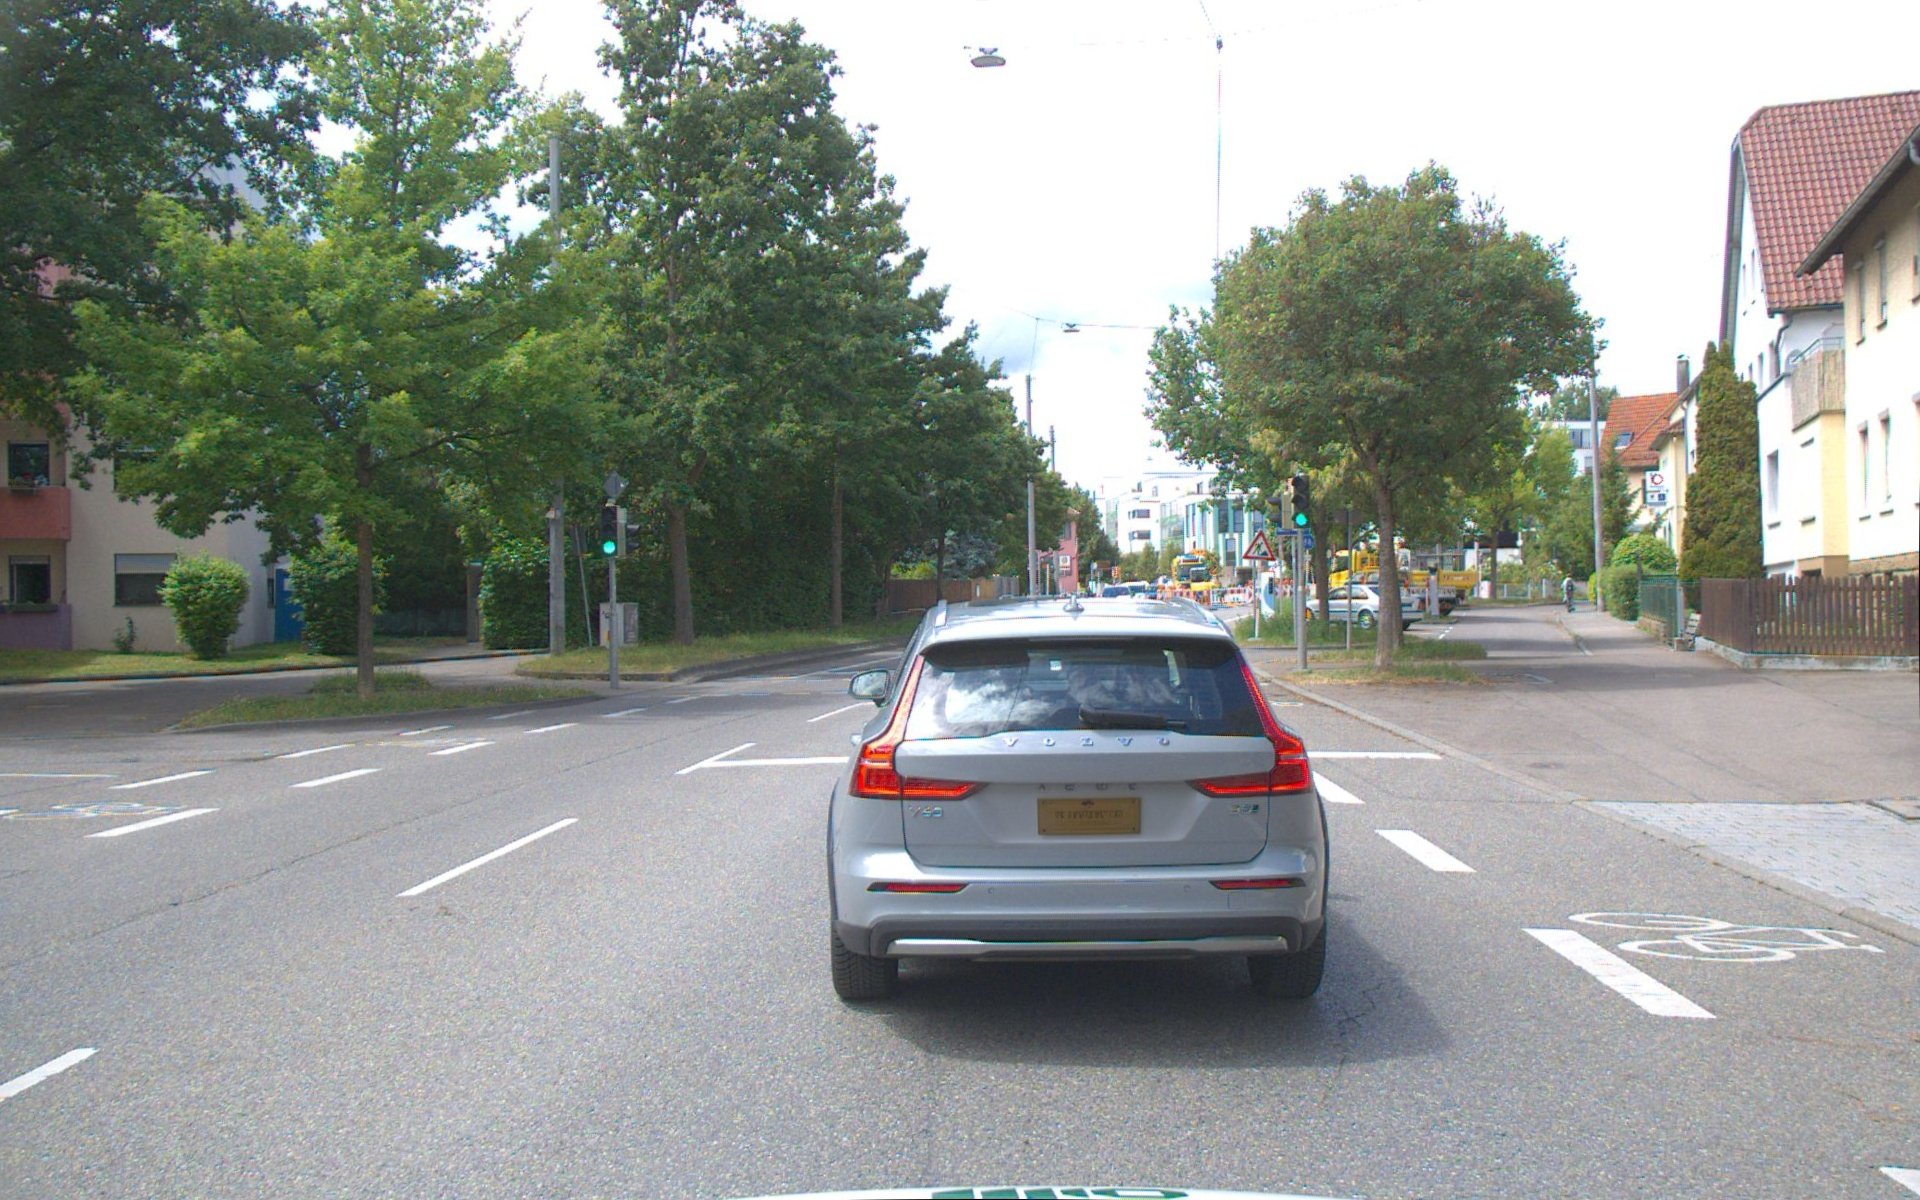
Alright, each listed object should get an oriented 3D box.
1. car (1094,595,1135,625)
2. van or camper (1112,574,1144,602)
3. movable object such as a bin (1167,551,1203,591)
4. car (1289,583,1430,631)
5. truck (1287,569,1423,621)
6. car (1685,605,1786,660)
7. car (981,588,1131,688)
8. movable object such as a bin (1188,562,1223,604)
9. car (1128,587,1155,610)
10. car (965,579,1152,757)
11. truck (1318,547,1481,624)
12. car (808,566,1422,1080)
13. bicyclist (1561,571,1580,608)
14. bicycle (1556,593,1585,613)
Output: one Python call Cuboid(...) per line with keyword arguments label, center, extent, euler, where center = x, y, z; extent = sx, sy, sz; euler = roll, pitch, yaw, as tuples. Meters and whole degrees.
Cuboid(label="car", center=(7.722, 0.501, 82.605), extent=(1.789, 1.353, 4.003), euler=(1, -2, 9))
Cuboid(label="van or camper", center=(11.274, -0.800, 110.785), extent=(1.821, 1.807, 4.384), euler=(-1, 0, 9))
Cuboid(label="movable object such as a bin", center=(18.040, -2.288, 132.729), extent=(2.262, 3.042, 6.429), euler=(-2, 0, 3))
Cuboid(label="car", center=(13.066, 0.203, 54.385), extent=(1.745, 1.477, 4.637), euler=(-1, 1, -32))
Cuboid(label="truck", center=(16.427, -0.229, 69.047), extent=(1.978, 2.049, 5.604), euler=(2, -1, -36))
Cuboid(label="car", center=(17.458, 0.713, 37.382), extent=(1.431, 1.144, 3.874), euler=(1, -1, 16))
Cuboid(label="car", center=(1.702, 0.616, 27.889), extent=(2.057, 1.536, 4.003), euler=(1, -1, 10))
Cuboid(label="movable object such as a bin", center=(16.281, -1.136, 109.383), extent=(1.991, 2.689, 5.945), euler=(-2, 0, 11))
Cuboid(label="car", center=(14.980, -0.112, 136.501), extent=(1.952, 1.768, 4.002), euler=(1, -1, 4))
Cuboid(label="car", center=(0.942, 0.621, 16.591), extent=(1.627, 1.534, 3.703), euler=(2, 0, 2))
Cuboid(label="truck", center=(18.759, -0.601, 70.955), extent=(2.737, 3.061, 6.626), euler=(2, -1, -34))
Cuboid(label="car", center=(0.481, 0.668, 7.149), extent=(1.888, 1.567, 4.000), euler=(-1, 1, 0))
Cuboid(label="bicyclist", center=(26.457, -0.439, 71.709), extent=(0.577, 1.586, 0.566), euler=(1, -1, -2))
Cuboid(label="bicycle", center=(26.444, 0.125, 71.669), extent=(0.582, 0.826, 1.753), euler=(1, 0, -1))
